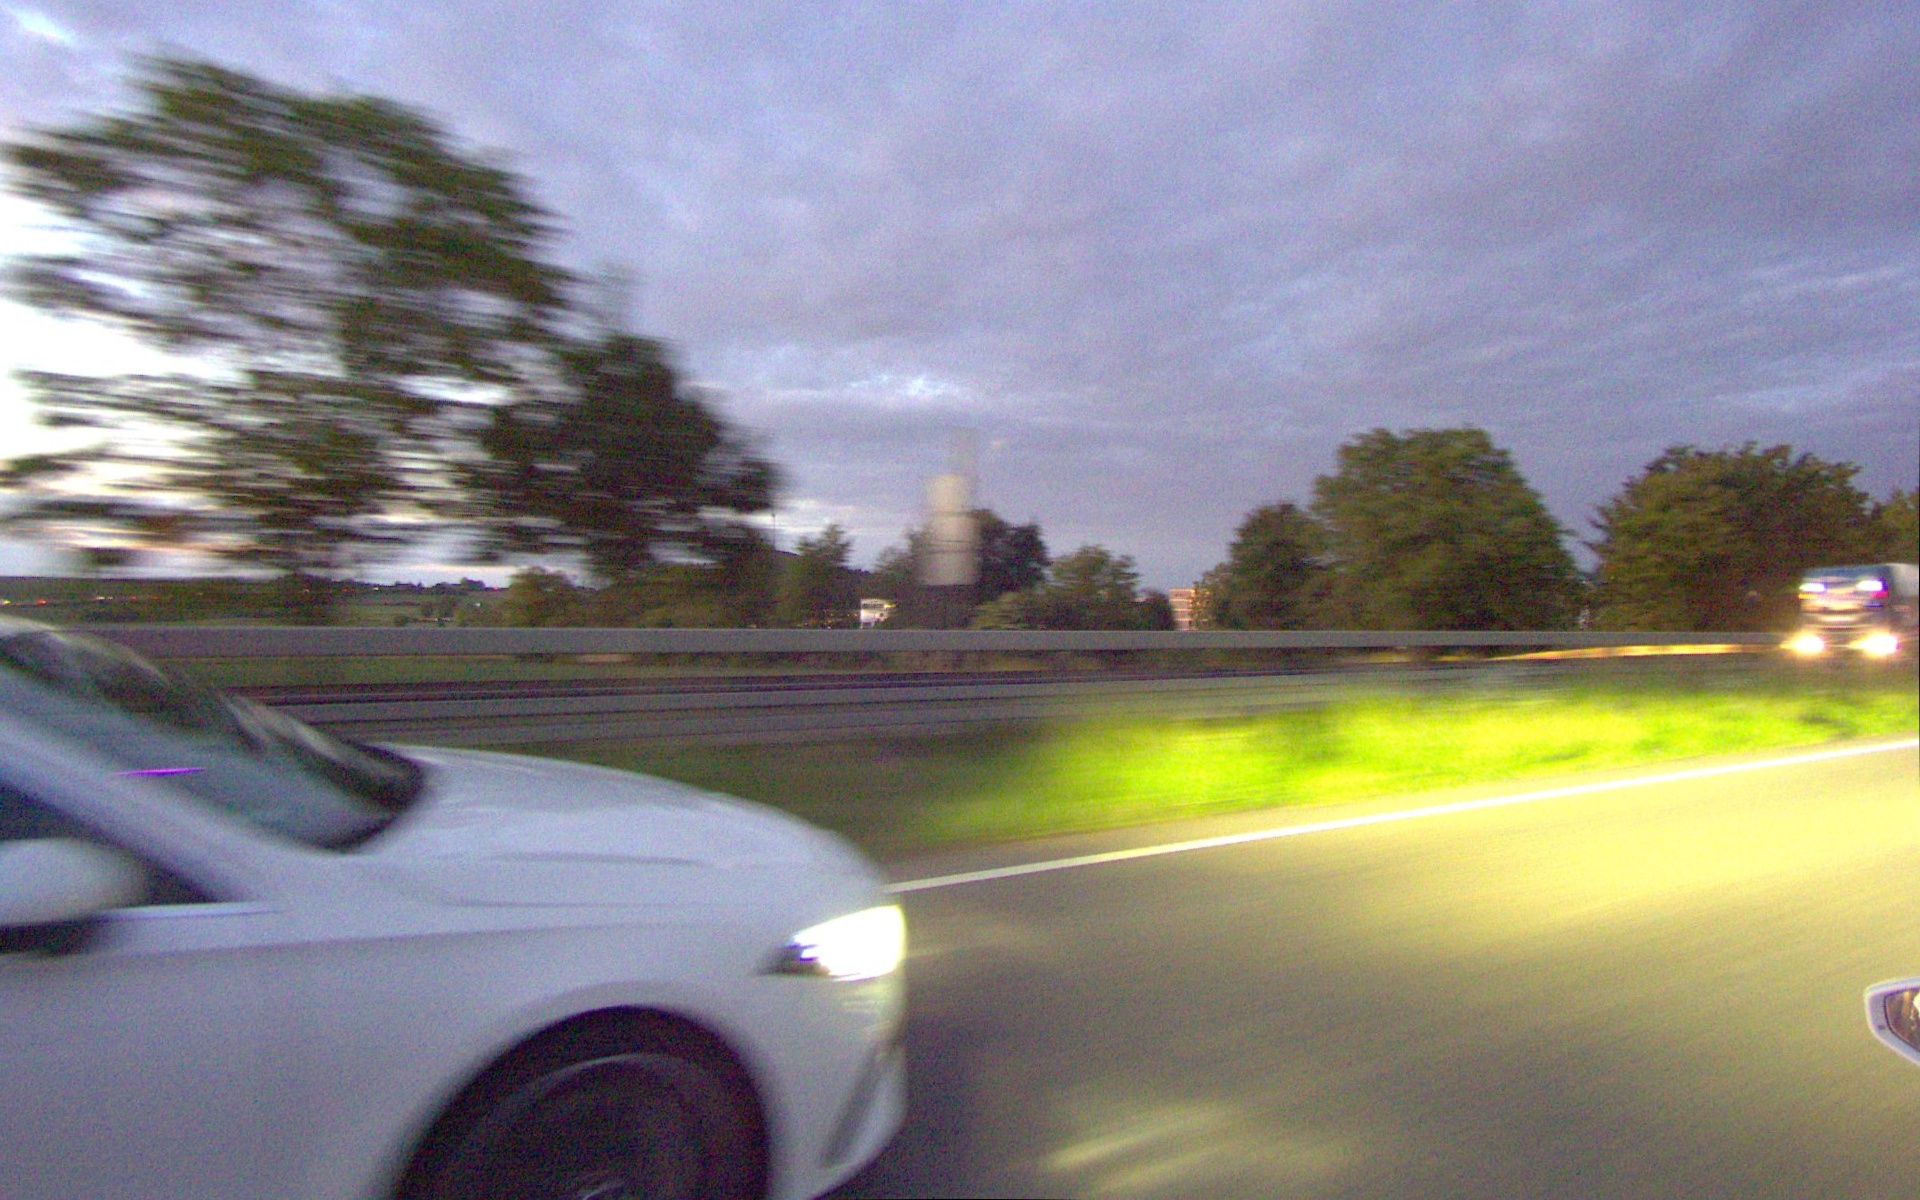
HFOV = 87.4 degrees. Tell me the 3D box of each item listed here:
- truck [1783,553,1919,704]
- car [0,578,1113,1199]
[{"bbox_3d":[37.427,1.149,39.926,12.464,5.326,3.186,2,0,-31],"label":"truck"},{"bbox_3d":[-2.006,0.711,1.969,4.526,1.510,1.634,2,0,-30],"label":"car"}]
